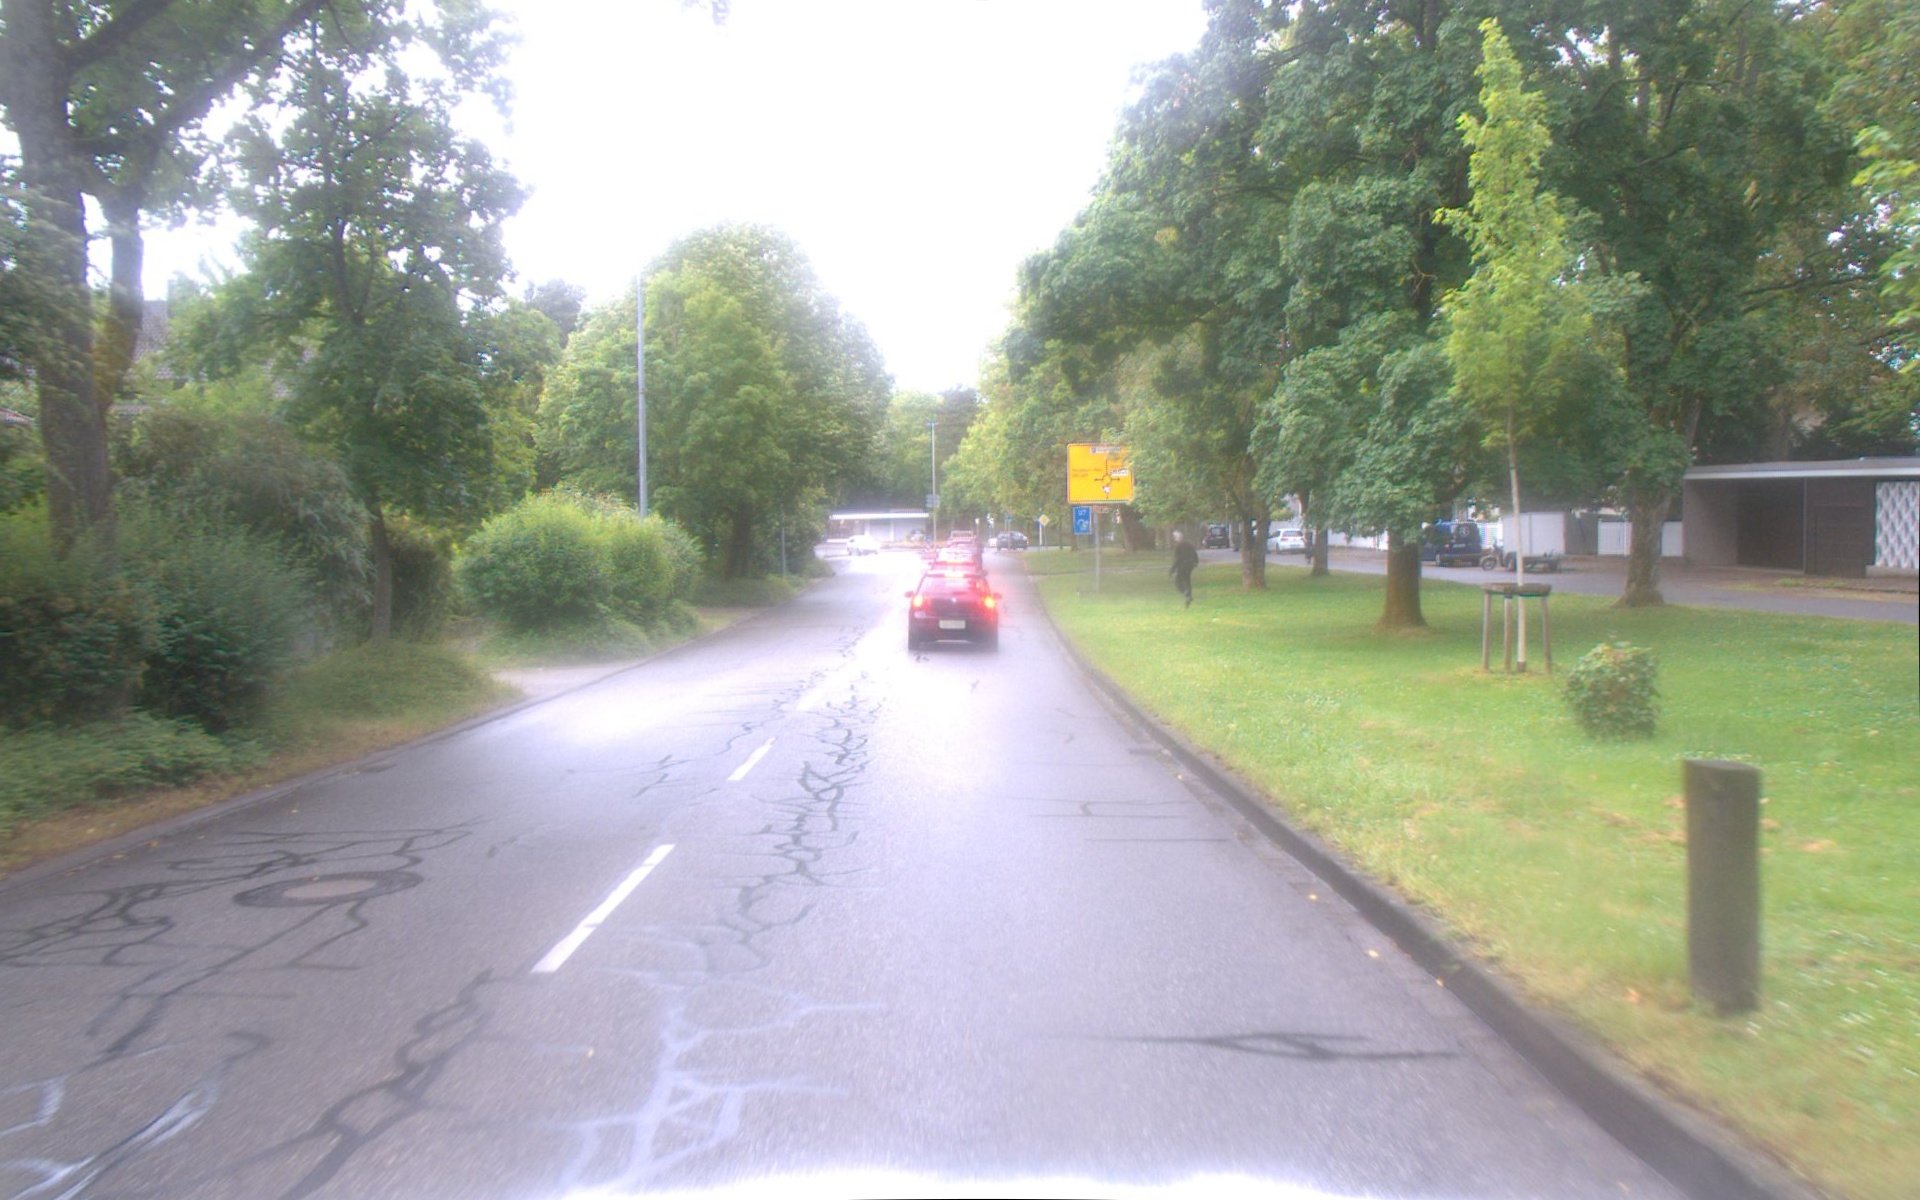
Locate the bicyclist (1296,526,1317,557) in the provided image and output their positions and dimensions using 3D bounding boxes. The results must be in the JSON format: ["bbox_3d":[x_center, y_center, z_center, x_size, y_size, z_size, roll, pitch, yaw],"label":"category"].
[{"bbox_3d":[15.965,-2.676,76.246,0.729,1.415,1.000,-1,2,0],"label":"bicyclist"}]

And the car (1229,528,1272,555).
[{"bbox_3d":[18.309,-3.723,104.418,1.766,1.556,4.112,-2,3,-2],"label":"car"}]

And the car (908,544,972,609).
[{"bbox_3d":[-0.564,-0.737,49.612,1.817,1.815,4.001,-1,2,1],"label":"car"}]

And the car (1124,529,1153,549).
[{"bbox_3d":[13.916,-4.792,129.087,1.766,1.430,4.001,-3,3,0],"label":"car"}]

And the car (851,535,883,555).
[{"bbox_3d":[-7.856,-4.654,139.856,1.736,1.642,4.122,-3,3,-17],"label":"car"}]

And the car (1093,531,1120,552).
[{"bbox_3d":[11.431,-4.586,129.158,1.766,1.409,4.001,-3,3,0],"label":"car"}]

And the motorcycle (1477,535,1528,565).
[{"bbox_3d":[20.767,-1.909,63.343,1.846,1.111,0.659,0,4,20],"label":"motorcycle"}]

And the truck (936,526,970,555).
[{"bbox_3d":[-0.516,-4.381,121.139,2.367,2.039,5.151,-1,2,-1],"label":"truck"}]

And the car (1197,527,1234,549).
[{"bbox_3d":[17.977,-4.386,116.450,1.766,1.435,4.112,-2,3,-2],"label":"car"}]

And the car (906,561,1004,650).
[{"bbox_3d":[-0.070,0.064,32.234,1.762,1.541,3.755,1,2,0],"label":"car"}]

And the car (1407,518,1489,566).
[{"bbox_3d":[20.663,-2.491,70.227,1.903,1.840,4.648,-3,3,-3],"label":"car"}]

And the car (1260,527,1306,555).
[{"bbox_3d":[18.859,-3.466,96.642,1.584,1.434,4.007,-2,3,-5],"label":"car"}]

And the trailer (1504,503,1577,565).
[{"bbox_3d":[21.189,-2.407,60.444,1.408,2.191,2.948,0,2,-5],"label":"trailer"}]

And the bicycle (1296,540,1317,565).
[{"bbox_3d":[15.969,-2.198,76.210,0.583,1.158,1.864,-1,2,0],"label":"bicycle"}]

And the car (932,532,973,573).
[{"bbox_3d":[-0.326,-2.252,78.080,1.817,1.815,4.001,-1,2,1],"label":"car"}]
